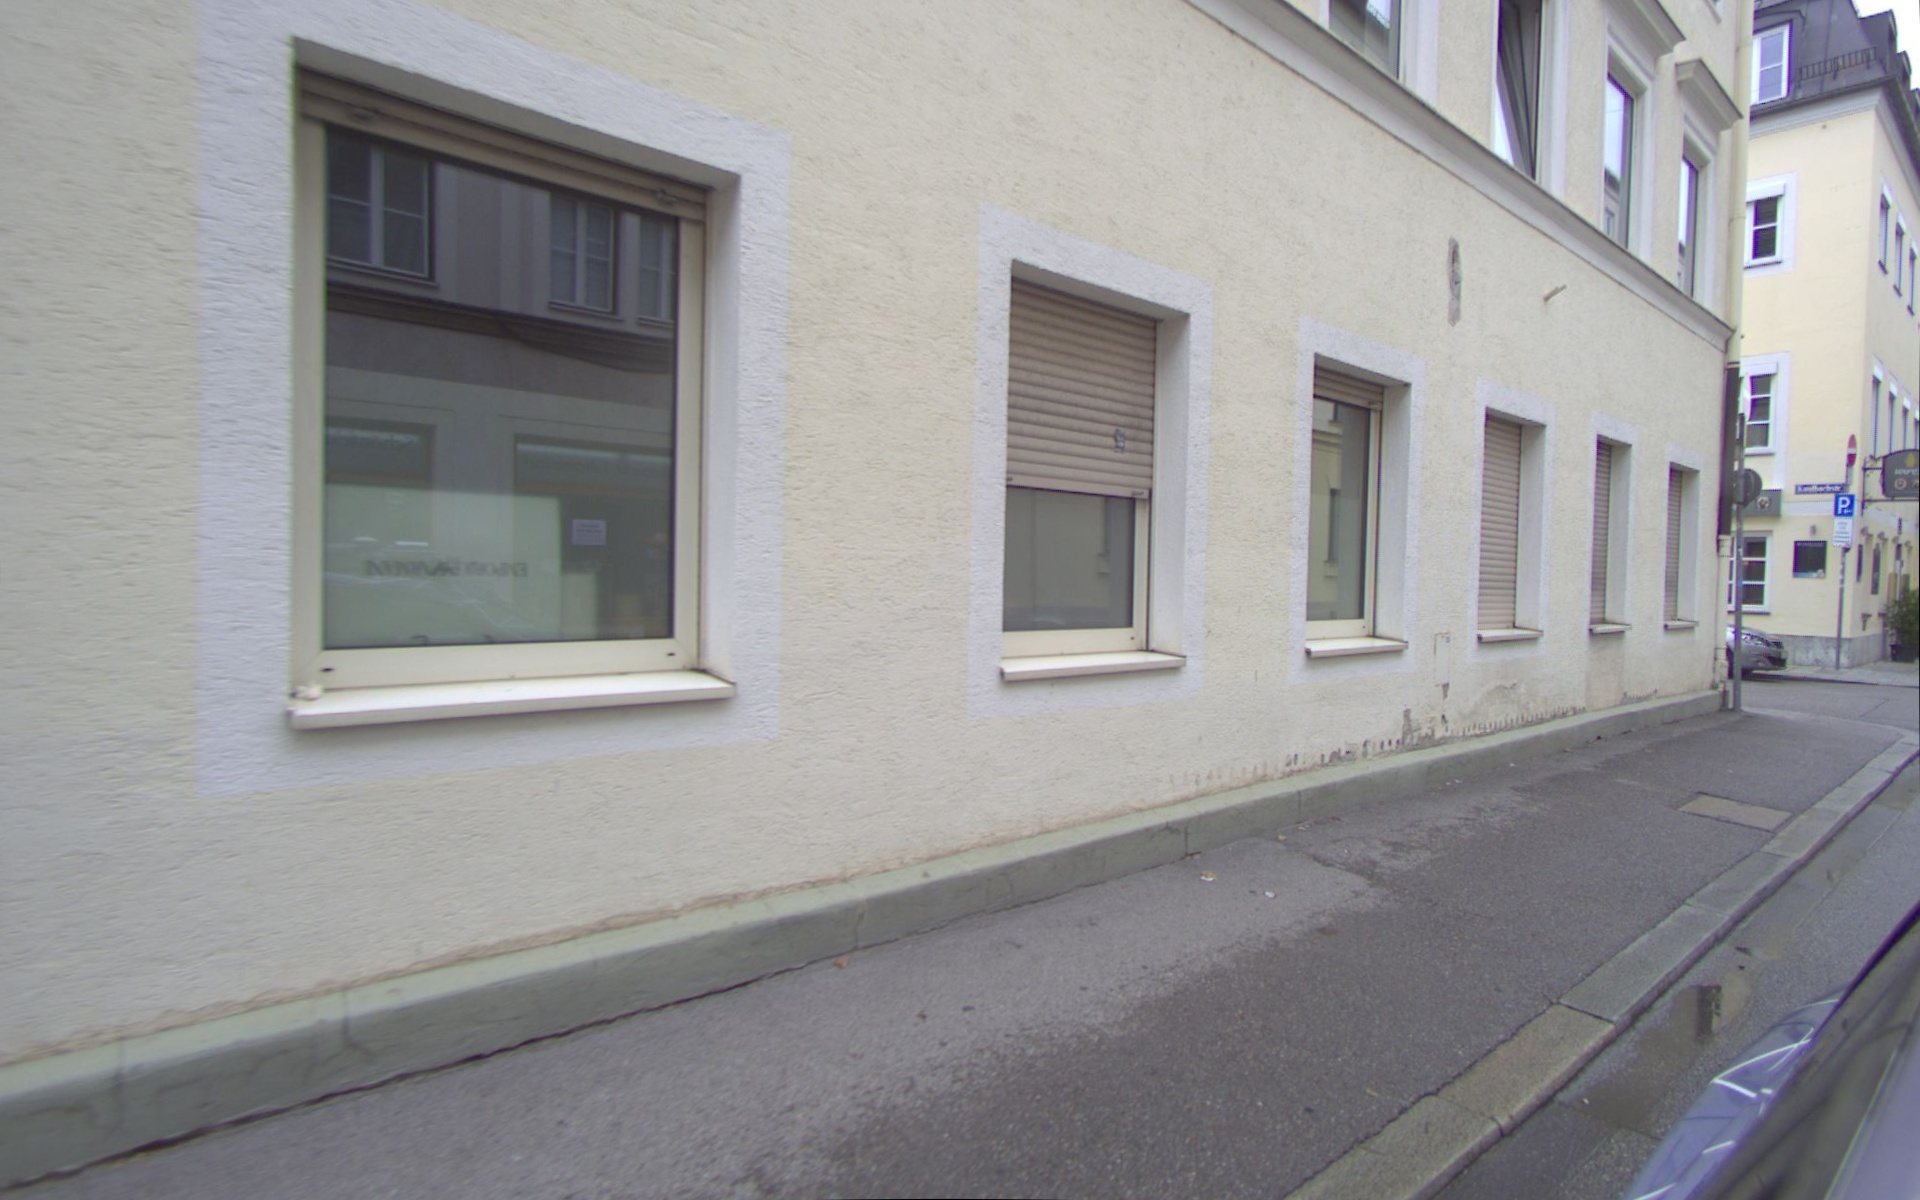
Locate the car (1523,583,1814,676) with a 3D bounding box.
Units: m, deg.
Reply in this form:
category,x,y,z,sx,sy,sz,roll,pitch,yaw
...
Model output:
category,x,y,z,sx,sy,sz,roll,pitch,yaw
car,12.836,0.484,18.546,1.732,1.459,4.025,3,0,-38
